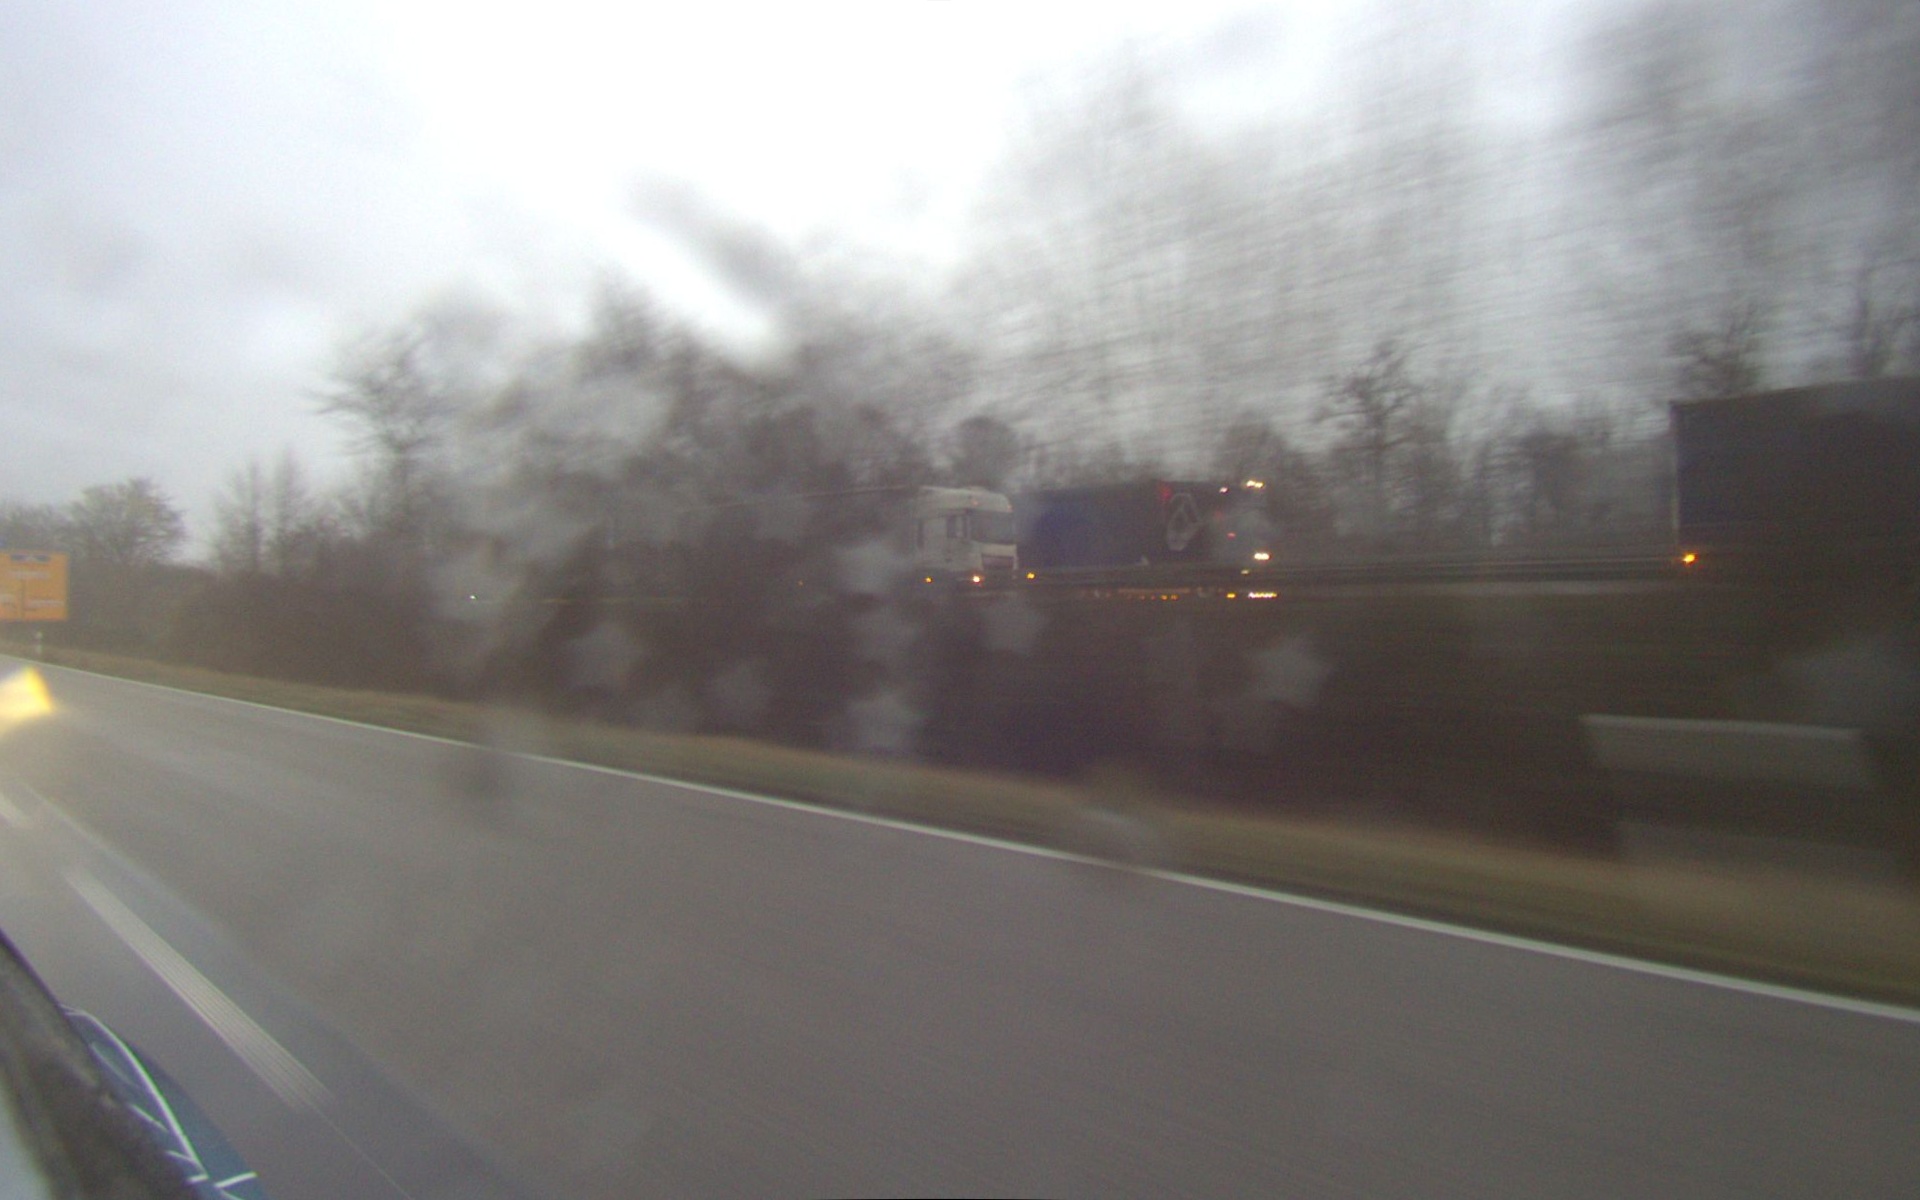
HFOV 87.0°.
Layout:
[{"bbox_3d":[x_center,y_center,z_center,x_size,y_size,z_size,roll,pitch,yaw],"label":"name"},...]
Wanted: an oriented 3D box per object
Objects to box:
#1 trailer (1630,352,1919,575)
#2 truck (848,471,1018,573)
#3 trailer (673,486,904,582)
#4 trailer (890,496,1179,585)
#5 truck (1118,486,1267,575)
[{"bbox_3d":[18.804,-2.511,17.802,11.379,3.661,2.968,-2,-2,41],"label":"trailer"},{"bbox_3d":[-0.994,-2.509,34.304,5.580,2.909,2.424,-2,-2,41],"label":"truck"},{"bbox_3d":[-7.006,-2.354,39.540,11.079,2.913,2.410,-2,-2,41],"label":"trailer"},{"bbox_3d":[2.326,-2.002,37.289,11.496,2.443,2.482,-2,-2,41],"label":"trailer"},{"bbox_3d":[7.507,-2.161,32.750,3.998,2.454,2.503,-2,-2,41],"label":"truck"}]
